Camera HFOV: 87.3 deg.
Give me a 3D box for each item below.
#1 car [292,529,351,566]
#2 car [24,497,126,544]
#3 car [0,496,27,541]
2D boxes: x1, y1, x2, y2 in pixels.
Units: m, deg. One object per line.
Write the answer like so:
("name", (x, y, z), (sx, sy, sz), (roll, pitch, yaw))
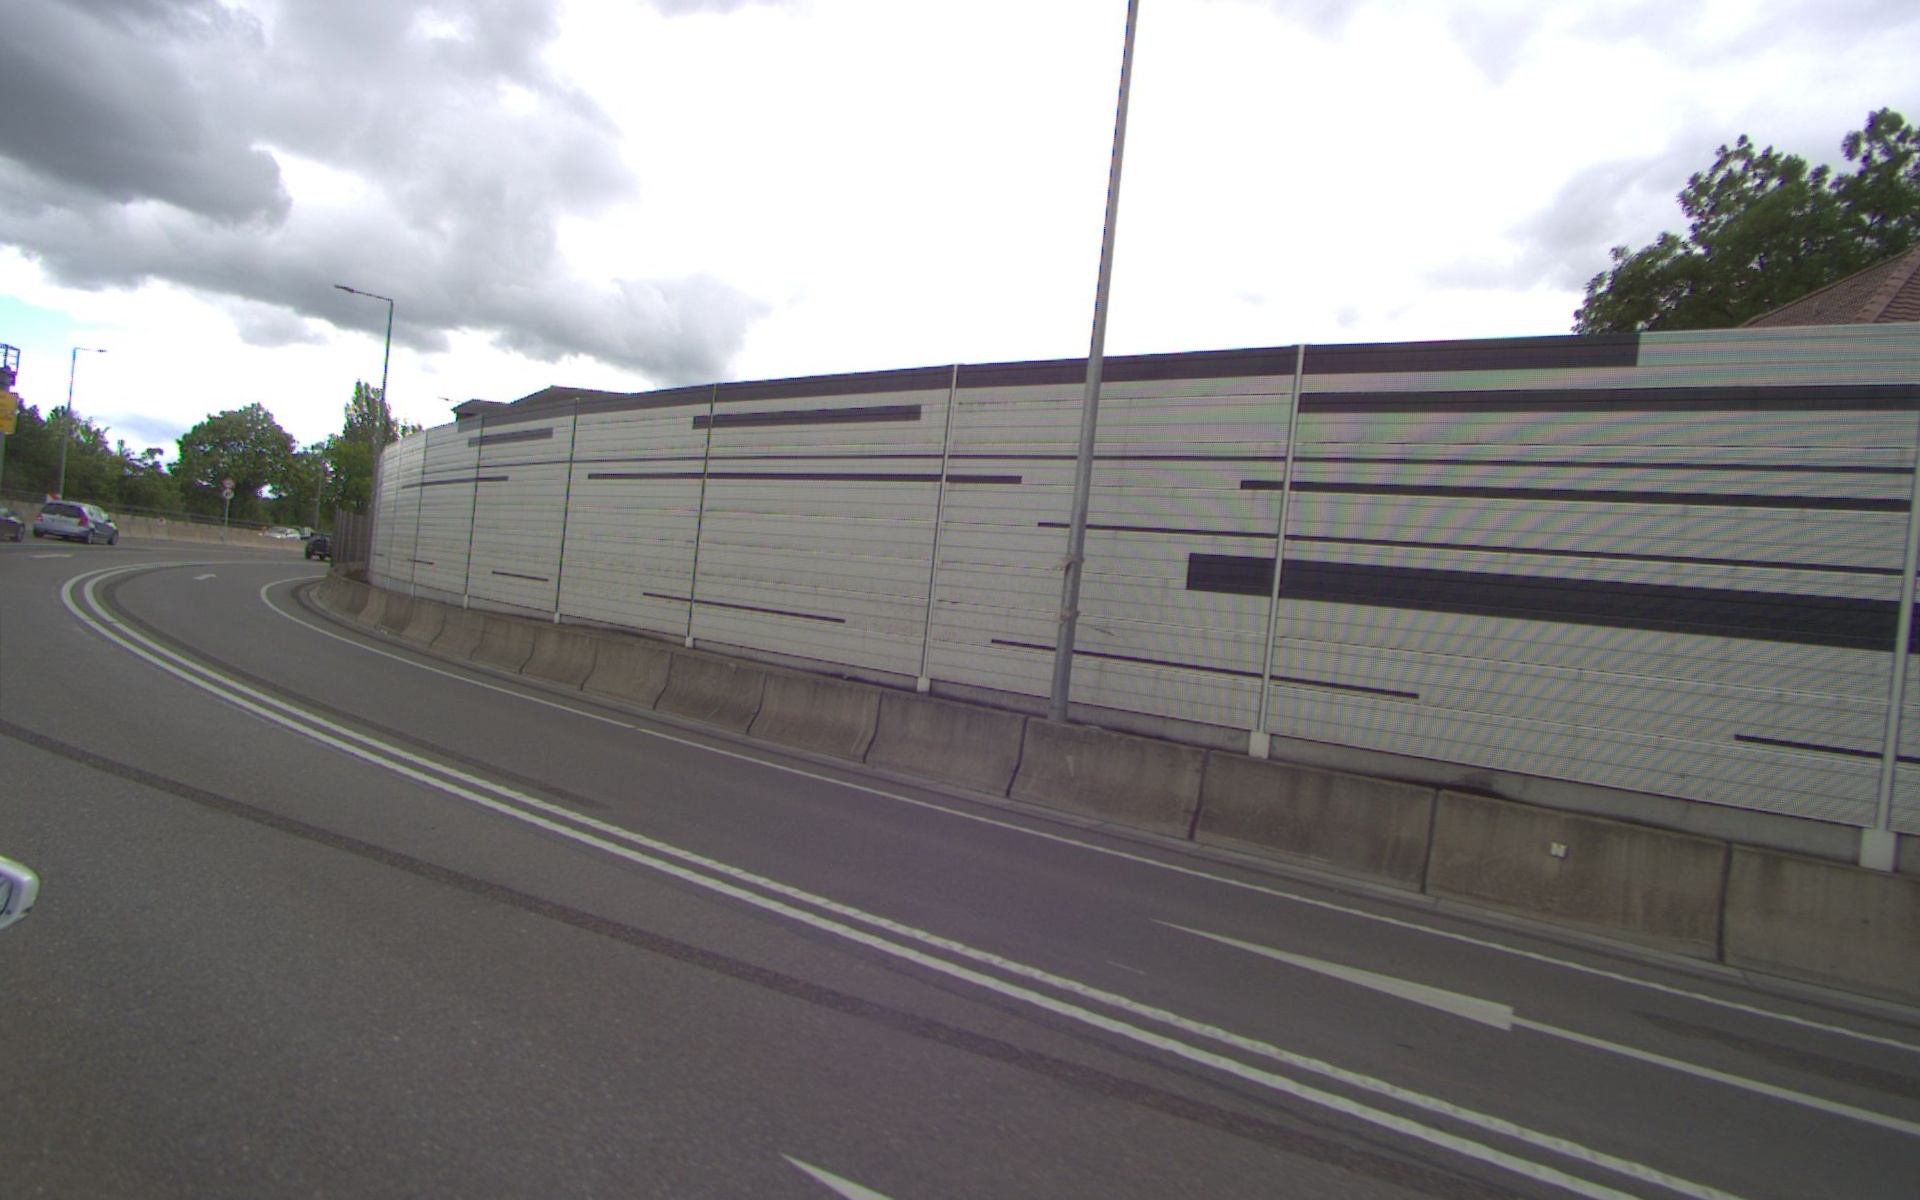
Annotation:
("car", (-39.613, -3.214, 62.541), (1.970, 1.882, 3.986), (7, -1, -17))
("car", (-36.191, -3.212, 41.250), (1.903, 1.506, 4.041), (8, -1, -25))
("car", (-32.150, -2.745, 32.581), (1.800, 1.452, 4.035), (6, 0, -29))
